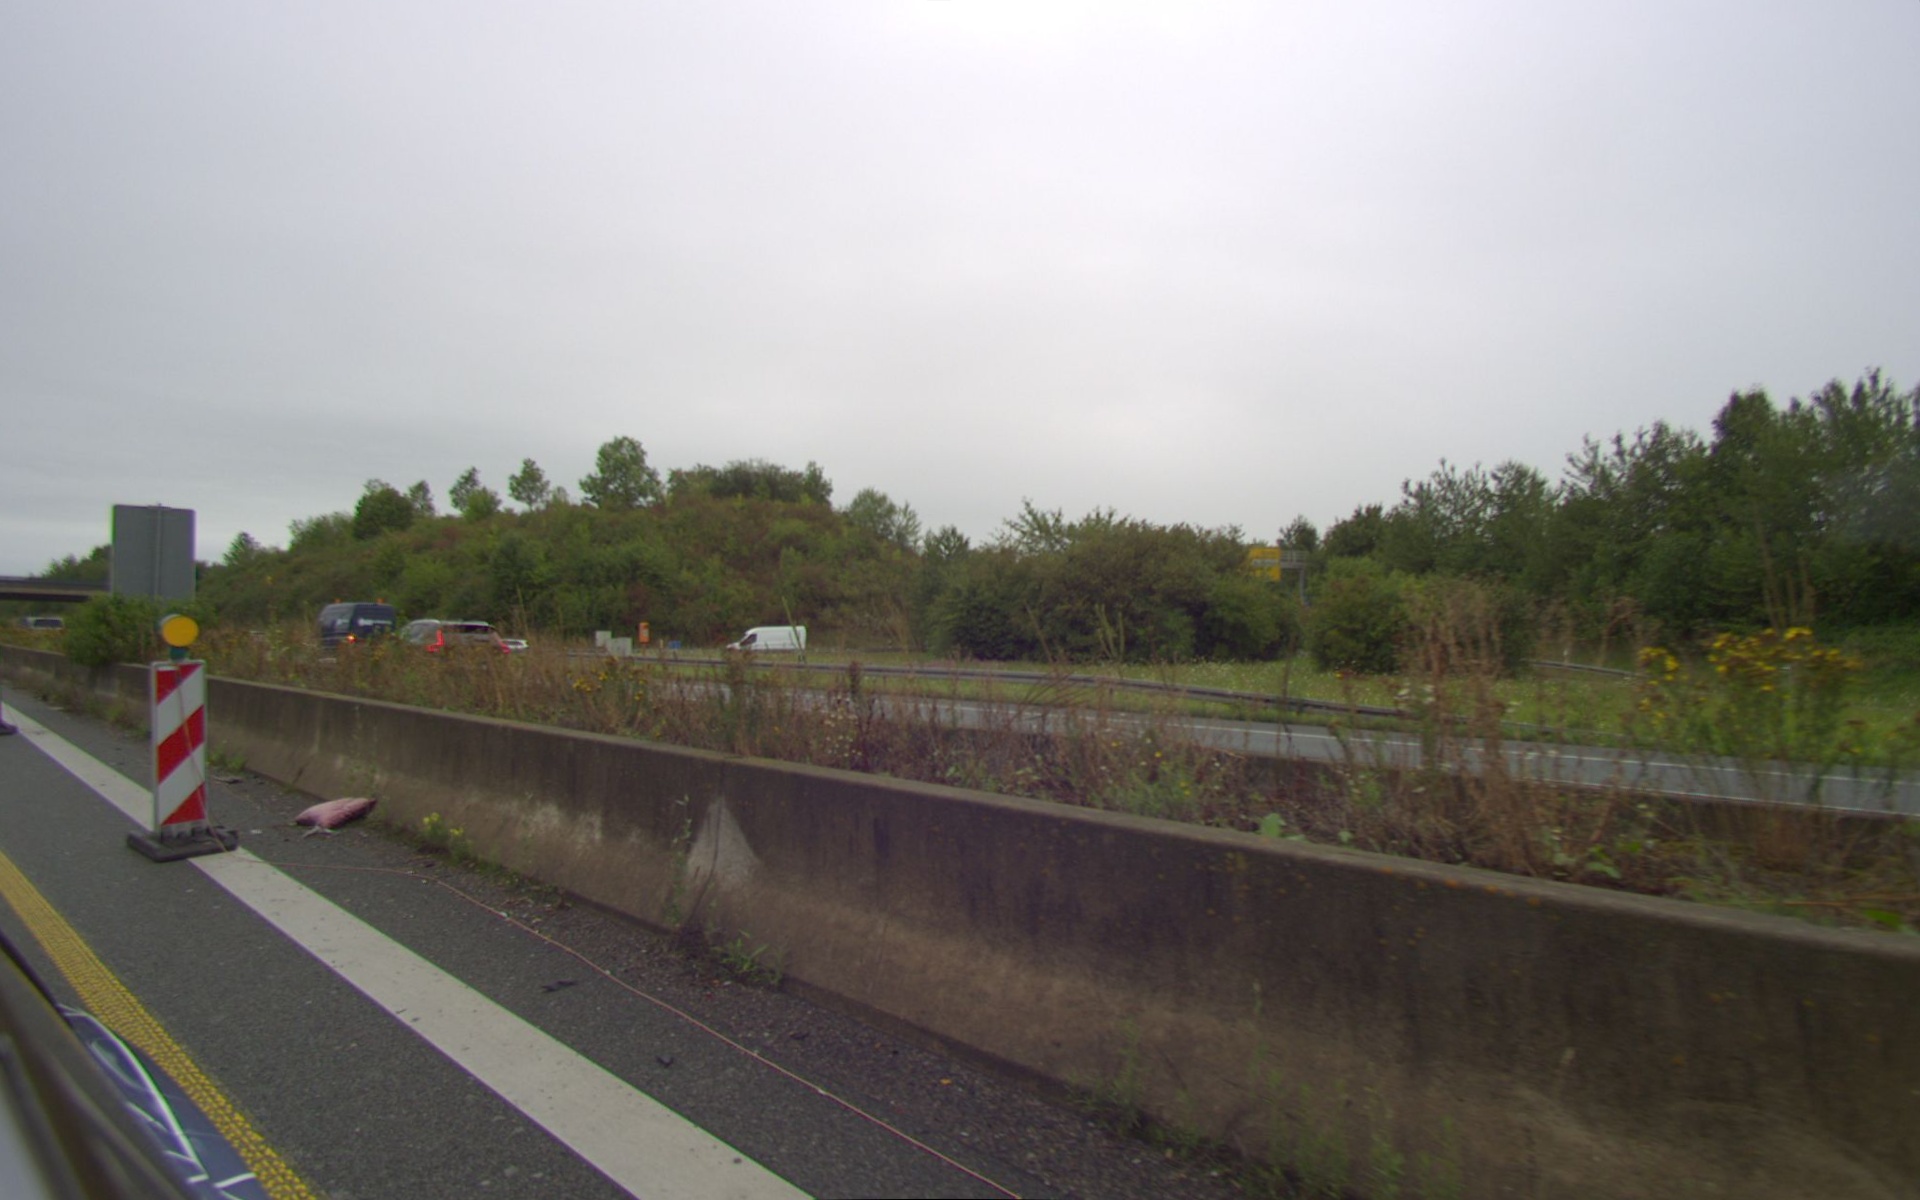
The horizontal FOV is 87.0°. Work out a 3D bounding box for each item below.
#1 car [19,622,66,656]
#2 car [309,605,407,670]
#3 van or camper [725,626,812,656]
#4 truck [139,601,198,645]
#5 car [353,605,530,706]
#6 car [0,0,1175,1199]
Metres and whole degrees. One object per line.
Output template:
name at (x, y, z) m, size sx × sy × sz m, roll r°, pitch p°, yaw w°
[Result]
car at (-58.238, 2.447, 64.179) m, size 5.253 × 2.029 × 1.749 m, roll -1°, pitch 0°, yaw 43°
car at (-26.077, 1.547, 43.752) m, size 5.846 × 2.629 × 2.029 m, roll 0°, pitch 0°, yaw 42°
van or camper at (-13.596, 2.939, 72.043) m, size 5.745 × 2.029 × 2.006 m, roll 2°, pitch -2°, yaw -23°
truck at (-69.584, 2.112, 88.779) m, size 2.856 × 3.647 × 14.595 m, roll 2°, pitch -3°, yaw -42°
car at (-11.505, 1.187, 22.383) m, size 3.996 × 2.029 × 1.974 m, roll 0°, pitch -4°, yaw 39°
car at (-1.938, 0.650, 1.517) m, size 3.998 × 1.774 × 1.972 m, roll -2°, pitch -3°, yaw 41°
